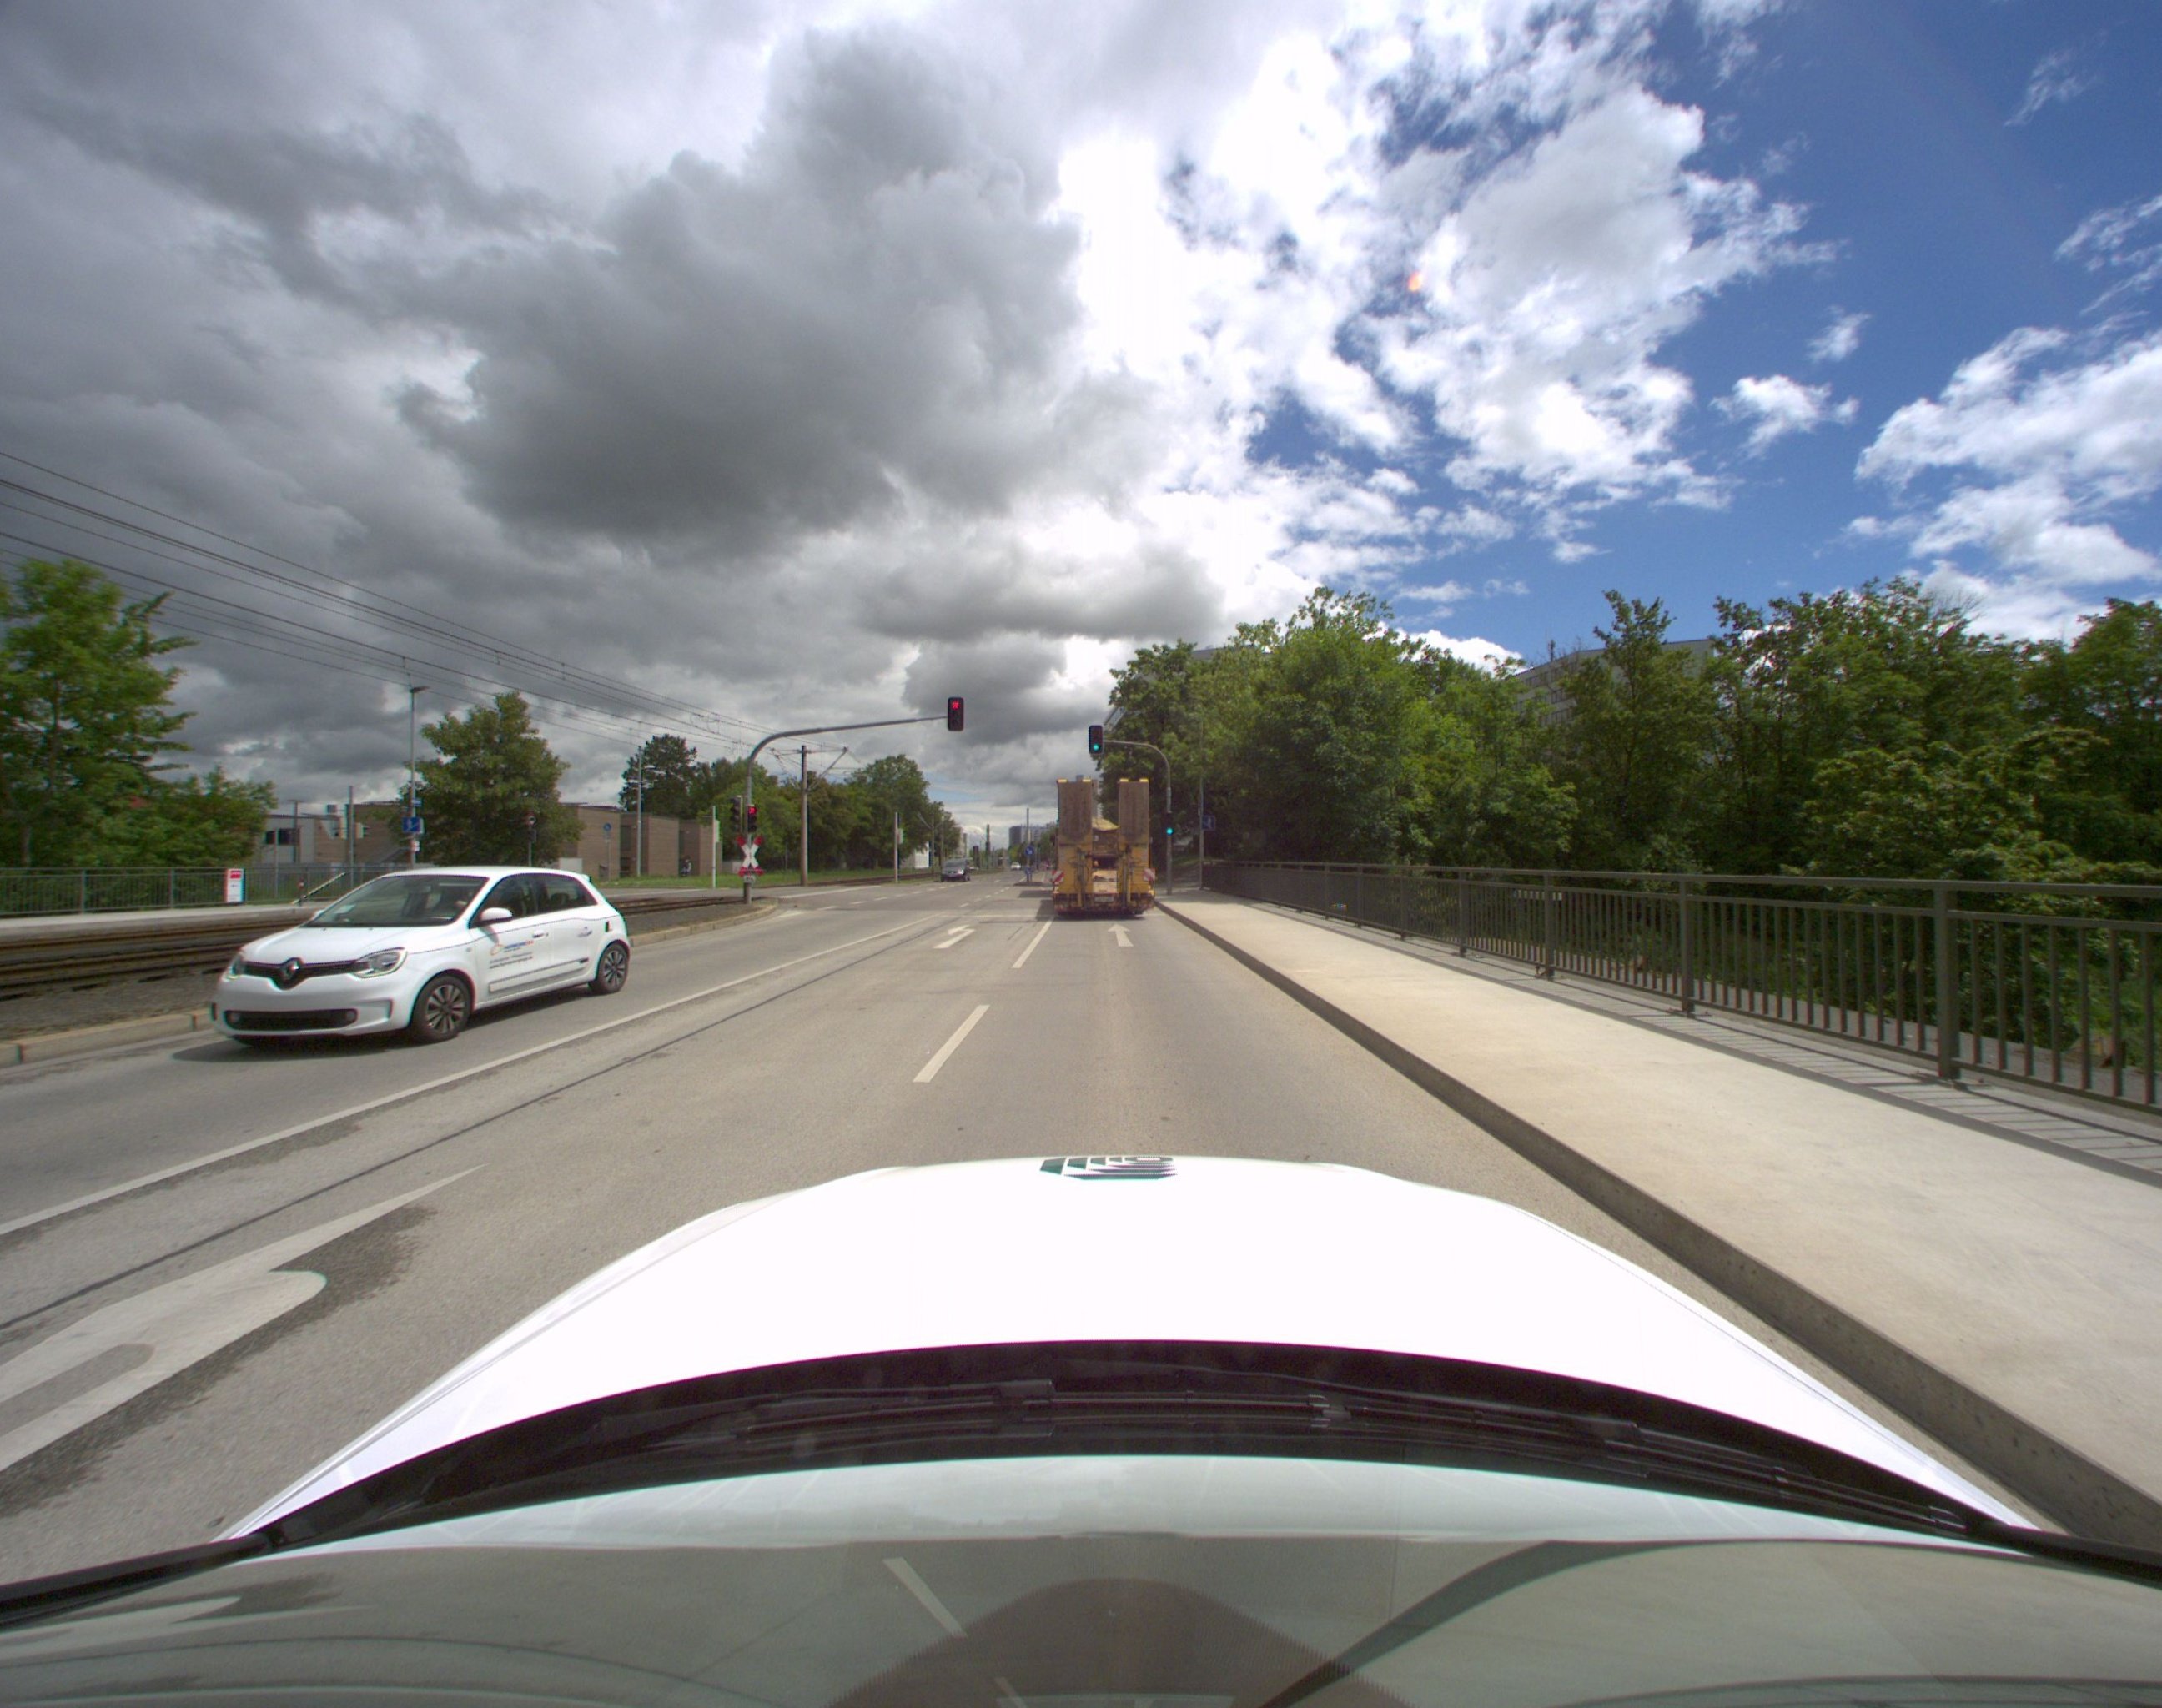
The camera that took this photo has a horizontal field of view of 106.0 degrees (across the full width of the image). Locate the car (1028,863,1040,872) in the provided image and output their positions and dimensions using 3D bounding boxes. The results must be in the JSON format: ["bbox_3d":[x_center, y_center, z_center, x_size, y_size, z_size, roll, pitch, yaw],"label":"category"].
[{"bbox_3d":[-8.547,2.418,148.185,1.988,1.618,3.998,2,-1,-1],"label":"car"}]

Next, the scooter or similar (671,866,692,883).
[{"bbox_3d":[-27.629,1.410,56.326,0.887,1.184,0.972,2,-1,1],"label":"scooter or similar"}]

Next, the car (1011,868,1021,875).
[{"bbox_3d":[-13.154,3.556,164.735,1.779,1.271,4.342,0,-1,-2],"label":"car"}]

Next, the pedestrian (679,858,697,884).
[{"bbox_3d":[-27.568,1.184,57.133,0.798,1.811,0.809,1,-1,3],"label":"pedestrian"}]

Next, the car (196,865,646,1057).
[{"bbox_3d":[-6.276,0.881,8.372,1.587,1.527,3.655,0,-1,1],"label":"car"}]

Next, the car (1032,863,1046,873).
[{"bbox_3d":[-6.361,2.131,123.597,1.988,1.420,3.998,2,-1,-1],"label":"car"}]

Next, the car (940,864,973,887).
[{"bbox_3d":[-8.814,1.484,57.989,1.779,1.570,4.342,0,-1,-2],"label":"car"}]

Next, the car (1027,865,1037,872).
[{"bbox_3d":[-9.181,2.647,152.420,1.779,1.271,4.342,0,-1,-2],"label":"car"}]

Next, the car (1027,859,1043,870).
[{"bbox_3d":[-6.450,1.476,113.608,1.988,1.420,3.998,2,-1,-1],"label":"car"}]

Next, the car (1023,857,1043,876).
[{"bbox_3d":[-5.262,1.372,90.535,1.988,1.926,3.998,2,-1,-1],"label":"car"}]

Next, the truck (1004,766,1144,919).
[{"bbox_3d":[0.300,-0.209,25.970,3.301,3.651,12.576,1,-1,4],"label":"truck"}]
